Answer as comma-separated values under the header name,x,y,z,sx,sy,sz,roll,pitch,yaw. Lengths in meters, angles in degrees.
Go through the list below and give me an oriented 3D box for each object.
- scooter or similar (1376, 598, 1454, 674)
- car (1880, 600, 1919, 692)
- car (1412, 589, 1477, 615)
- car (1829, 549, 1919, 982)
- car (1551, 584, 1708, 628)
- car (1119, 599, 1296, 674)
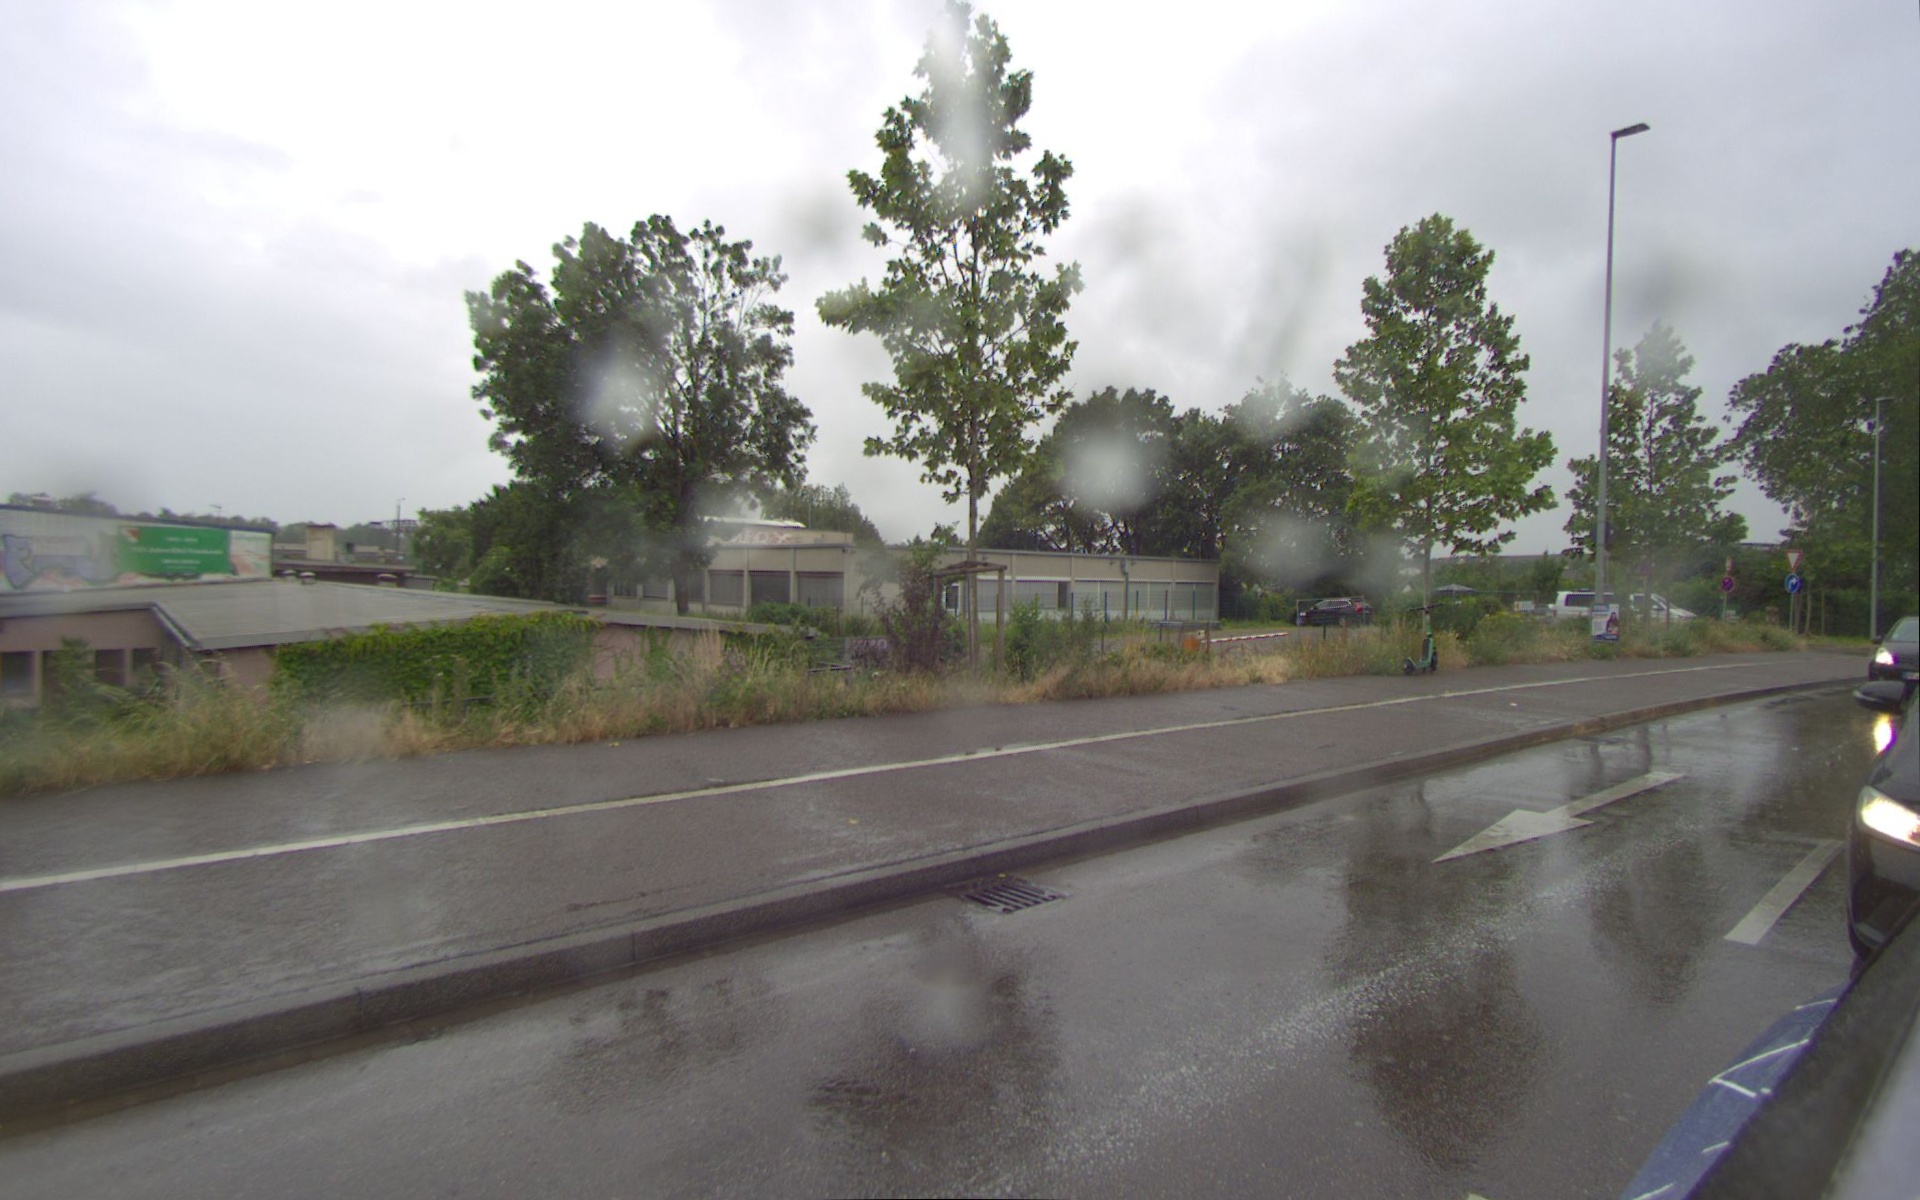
name,x,y,z,sx,sy,sz,roll,pitch,yaw
scooter or similar,7.664,0.585,17.003,1.877,1.214,0.367,0,0,-38
car,17.572,0.788,17.841,3.553,1.528,1.556,0,0,-40
car,30.929,0.111,64.679,1.319,1.604,3.555,0,0,-35
car,5.562,0.639,4.463,4.090,1.601,1.759,1,0,-36
car,28.031,0.247,42.509,1.972,1.747,5.168,0,0,-42
car,4.683,0.644,19.486,1.319,1.304,3.246,0,0,-35
